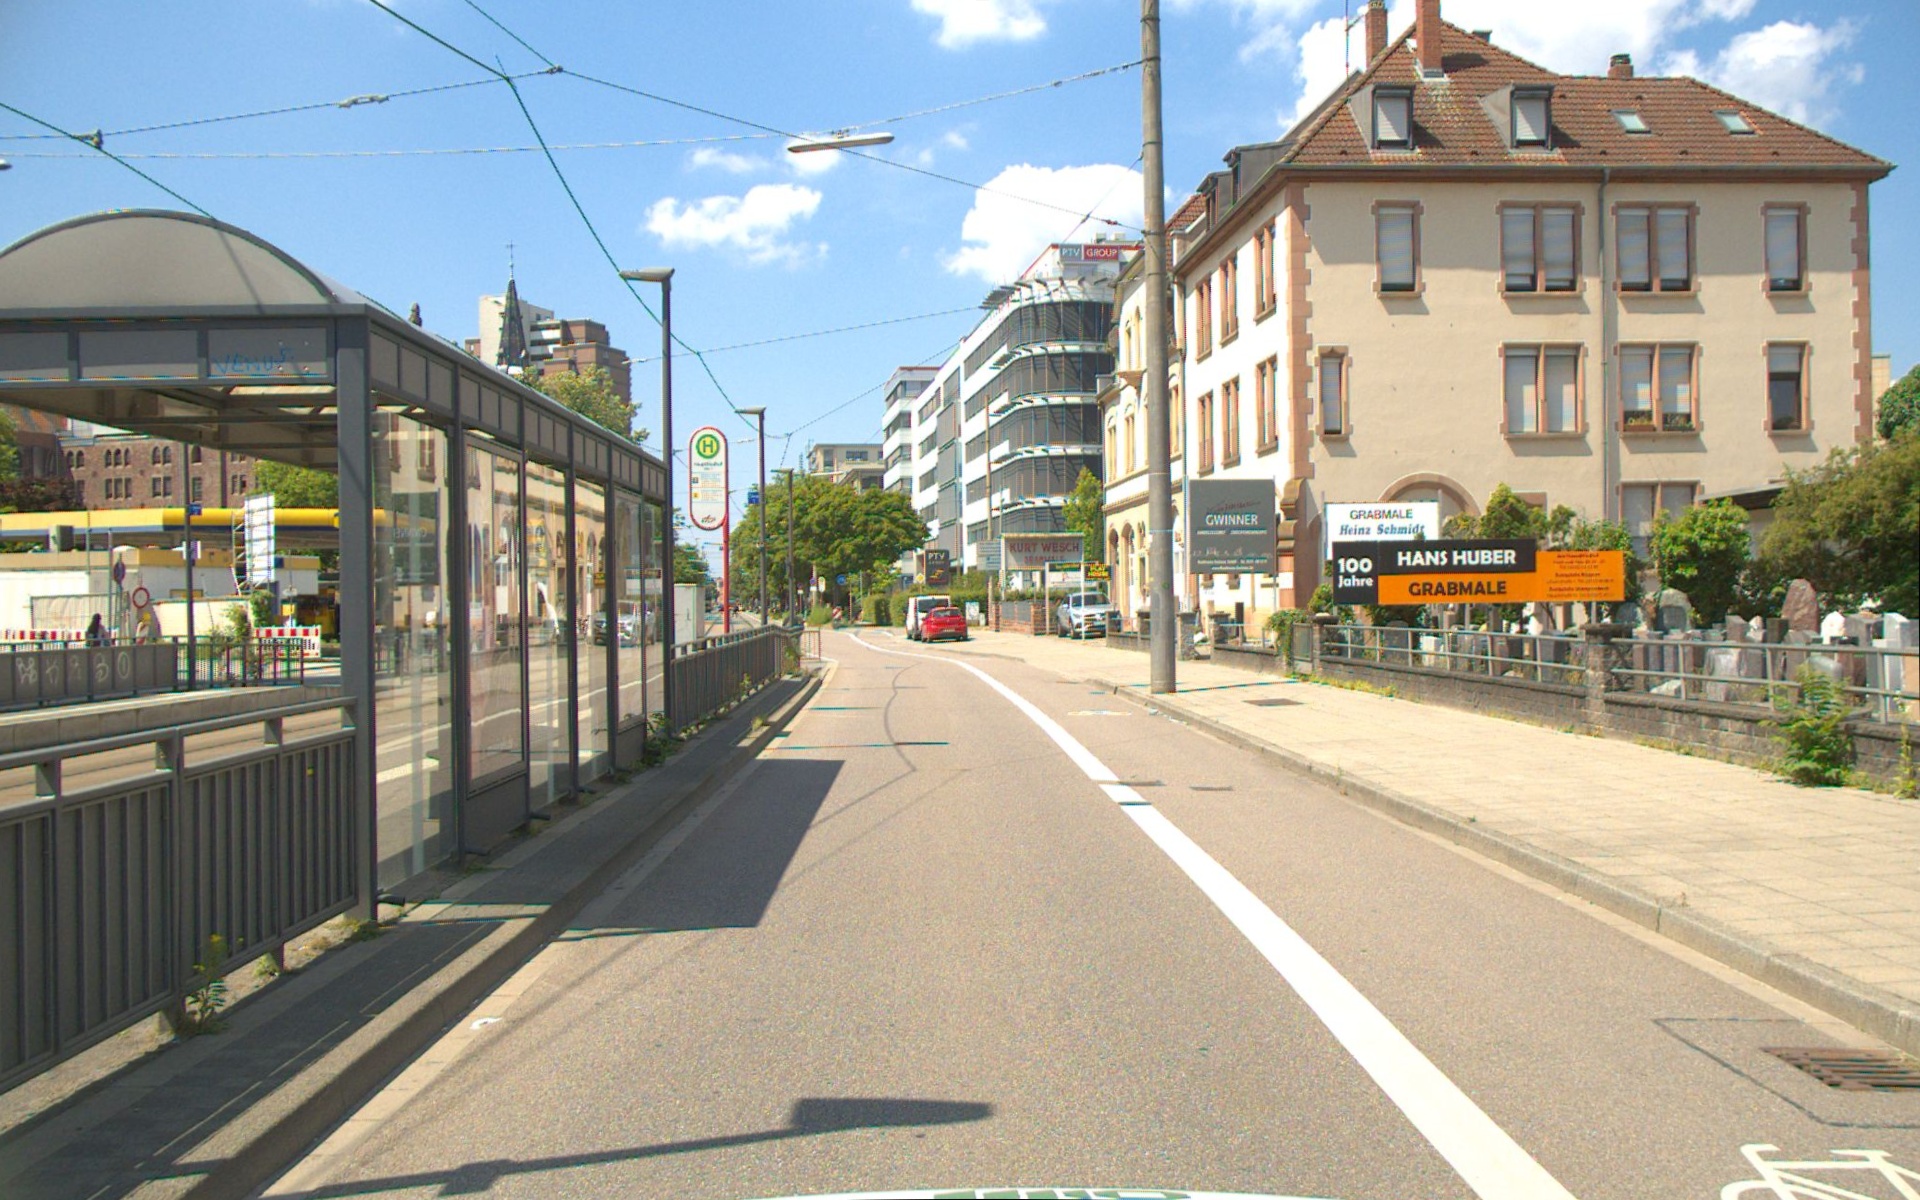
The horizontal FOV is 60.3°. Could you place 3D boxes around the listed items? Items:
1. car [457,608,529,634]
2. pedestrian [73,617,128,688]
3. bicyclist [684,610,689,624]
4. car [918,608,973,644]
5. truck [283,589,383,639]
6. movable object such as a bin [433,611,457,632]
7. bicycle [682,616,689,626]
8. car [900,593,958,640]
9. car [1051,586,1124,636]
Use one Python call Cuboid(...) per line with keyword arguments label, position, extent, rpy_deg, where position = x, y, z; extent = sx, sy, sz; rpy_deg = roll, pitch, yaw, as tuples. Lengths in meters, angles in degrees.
Cuboid(label="car", position=(-30.882, 1.377, 109.416), extent=(1.960, 1.618, 4.317), rpy_deg=(-1, 0, 36))
Cuboid(label="pedestrian", position=(-20.137, 1.220, 38.766), extent=(0.745, 1.624, 0.999), rpy_deg=(3, -1, -5))
Cuboid(label="bicyclist", position=(-34.253, 2.165, 207.034), extent=(0.630, 1.709, 0.813), rpy_deg=(-1, -1, -9))
Cuboid(label="car", position=(-0.659, 1.072, 70.502), extent=(1.955, 1.467, 4.011), rpy_deg=(-1, 0, -6))
Cuboid(label="truck", position=(-33.078, 0.758, 87.400), extent=(1.953, 2.542, 5.202), rpy_deg=(-1, -1, 22))
Cuboid(label="movable object such as a bin", position=(-33.972, 1.423, 109.081), extent=(1.316, 1.378, 0.758), rpy_deg=(-1, 0, 4))
Cuboid(label="bicycle", position=(-34.371, 2.617, 207.100), extent=(0.688, 1.225, 2.236), rpy_deg=(-3, 0, -8))
Cuboid(label="car", position=(-1.491, 0.757, 77.165), extent=(1.956, 2.026, 5.504), rpy_deg=(-3, 0, -8))
Cuboid(label="car", position=(4.623, 0.387, 60.503), extent=(1.842, 1.652, 4.634), rpy_deg=(-4, 0, -5))
